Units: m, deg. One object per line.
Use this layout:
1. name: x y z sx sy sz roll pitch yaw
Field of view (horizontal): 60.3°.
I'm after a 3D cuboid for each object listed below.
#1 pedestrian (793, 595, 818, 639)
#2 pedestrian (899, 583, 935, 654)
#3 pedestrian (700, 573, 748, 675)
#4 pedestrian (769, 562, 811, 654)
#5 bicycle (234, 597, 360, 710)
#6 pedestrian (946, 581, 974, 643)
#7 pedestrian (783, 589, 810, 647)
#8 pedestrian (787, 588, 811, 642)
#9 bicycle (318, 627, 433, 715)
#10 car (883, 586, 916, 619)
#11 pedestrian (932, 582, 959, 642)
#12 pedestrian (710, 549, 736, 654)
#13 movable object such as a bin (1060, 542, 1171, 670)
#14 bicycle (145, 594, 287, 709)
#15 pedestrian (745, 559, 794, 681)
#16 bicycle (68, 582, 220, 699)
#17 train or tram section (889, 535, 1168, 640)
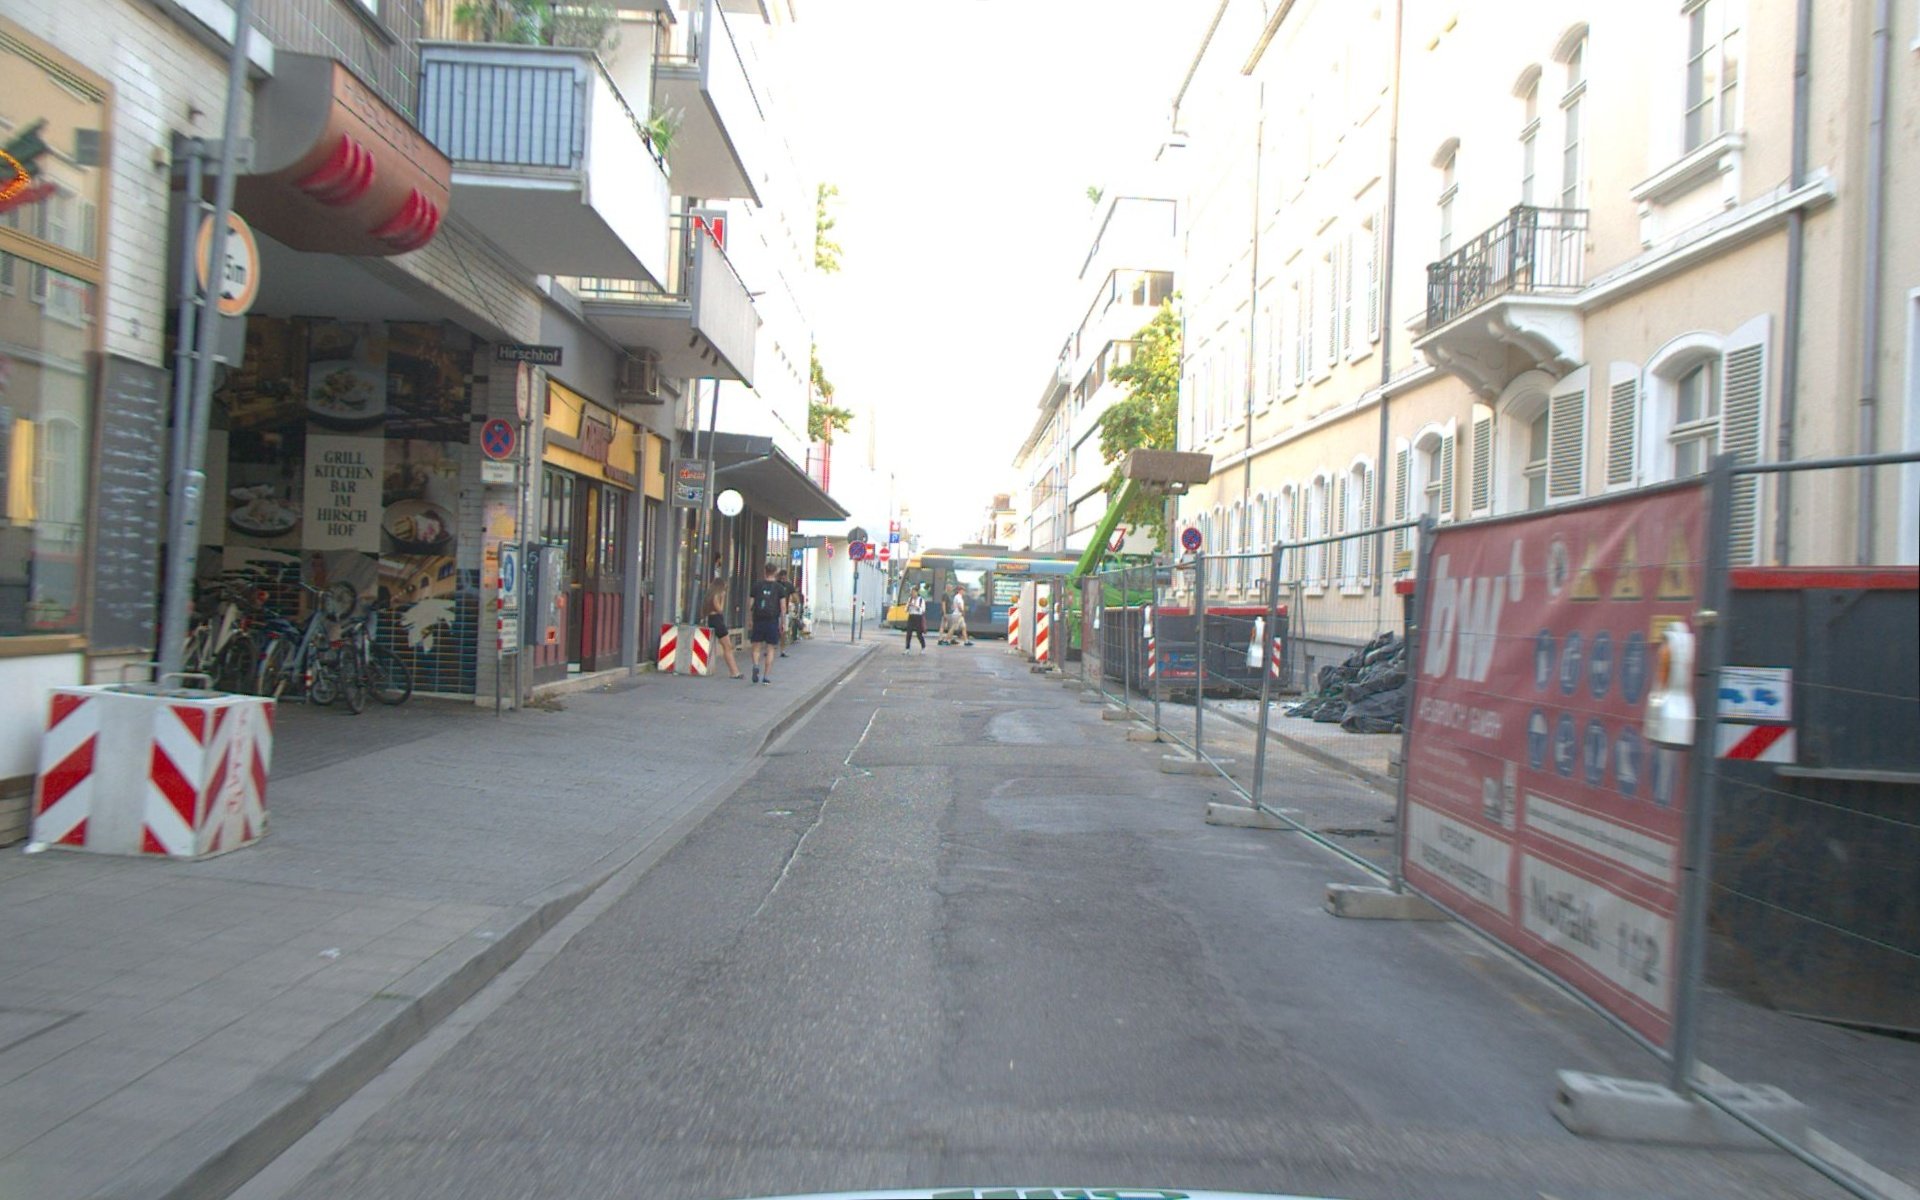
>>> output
1. pedestrian: -4.346 0.475 46.560 0.605 1.192 0.787 2 0 -2
2. pedestrian: -1.105 0.473 42.402 0.704 1.770 0.648 2 0 14
3. pedestrian: -3.768 0.381 26.437 0.635 1.592 0.628 2 0 -16
4. pedestrian: -3.576 0.165 34.761 0.647 1.919 0.568 2 0 -31
5. bicycle: -6.476 0.496 16.239 0.511 1.027 1.747 2 0 -1
6. pedestrian: 0.009 0.356 50.422 0.635 1.841 0.628 2 0 -17
7. pedestrian: -4.213 0.459 42.623 0.547 1.414 0.893 3 2 -1
8. pedestrian: -4.258 0.398 43.742 0.531 1.412 0.625 2 0 0
9. bicycle: -5.727 0.675 16.288 0.511 0.774 1.747 2 0 -1
10. car: -2.772 0.120 76.242 1.444 1.422 3.331 2 0 -1
11. pedestrian: -0.457 0.371 51.589 0.635 1.841 0.628 2 0 -17
12. pedestrian: -4.663 0.023 32.608 0.402 2.049 0.453 2 0 -3
13. movable object such as a bin: 4.155 0.109 44.986 2.420 3.185 4.297 3 1 -1
14. bicycle: -7.155 0.465 15.994 0.511 1.027 1.858 2 0 -1
15. pedestrian: -2.933 0.312 25.552 0.616 1.839 0.647 2 0 0
16. bicycle: -7.753 0.363 15.796 0.511 1.027 1.858 2 0 -1
17. train or tram section: 2.533 -0.468 63.105 10.275 3.520 2.999 2 0 -2
